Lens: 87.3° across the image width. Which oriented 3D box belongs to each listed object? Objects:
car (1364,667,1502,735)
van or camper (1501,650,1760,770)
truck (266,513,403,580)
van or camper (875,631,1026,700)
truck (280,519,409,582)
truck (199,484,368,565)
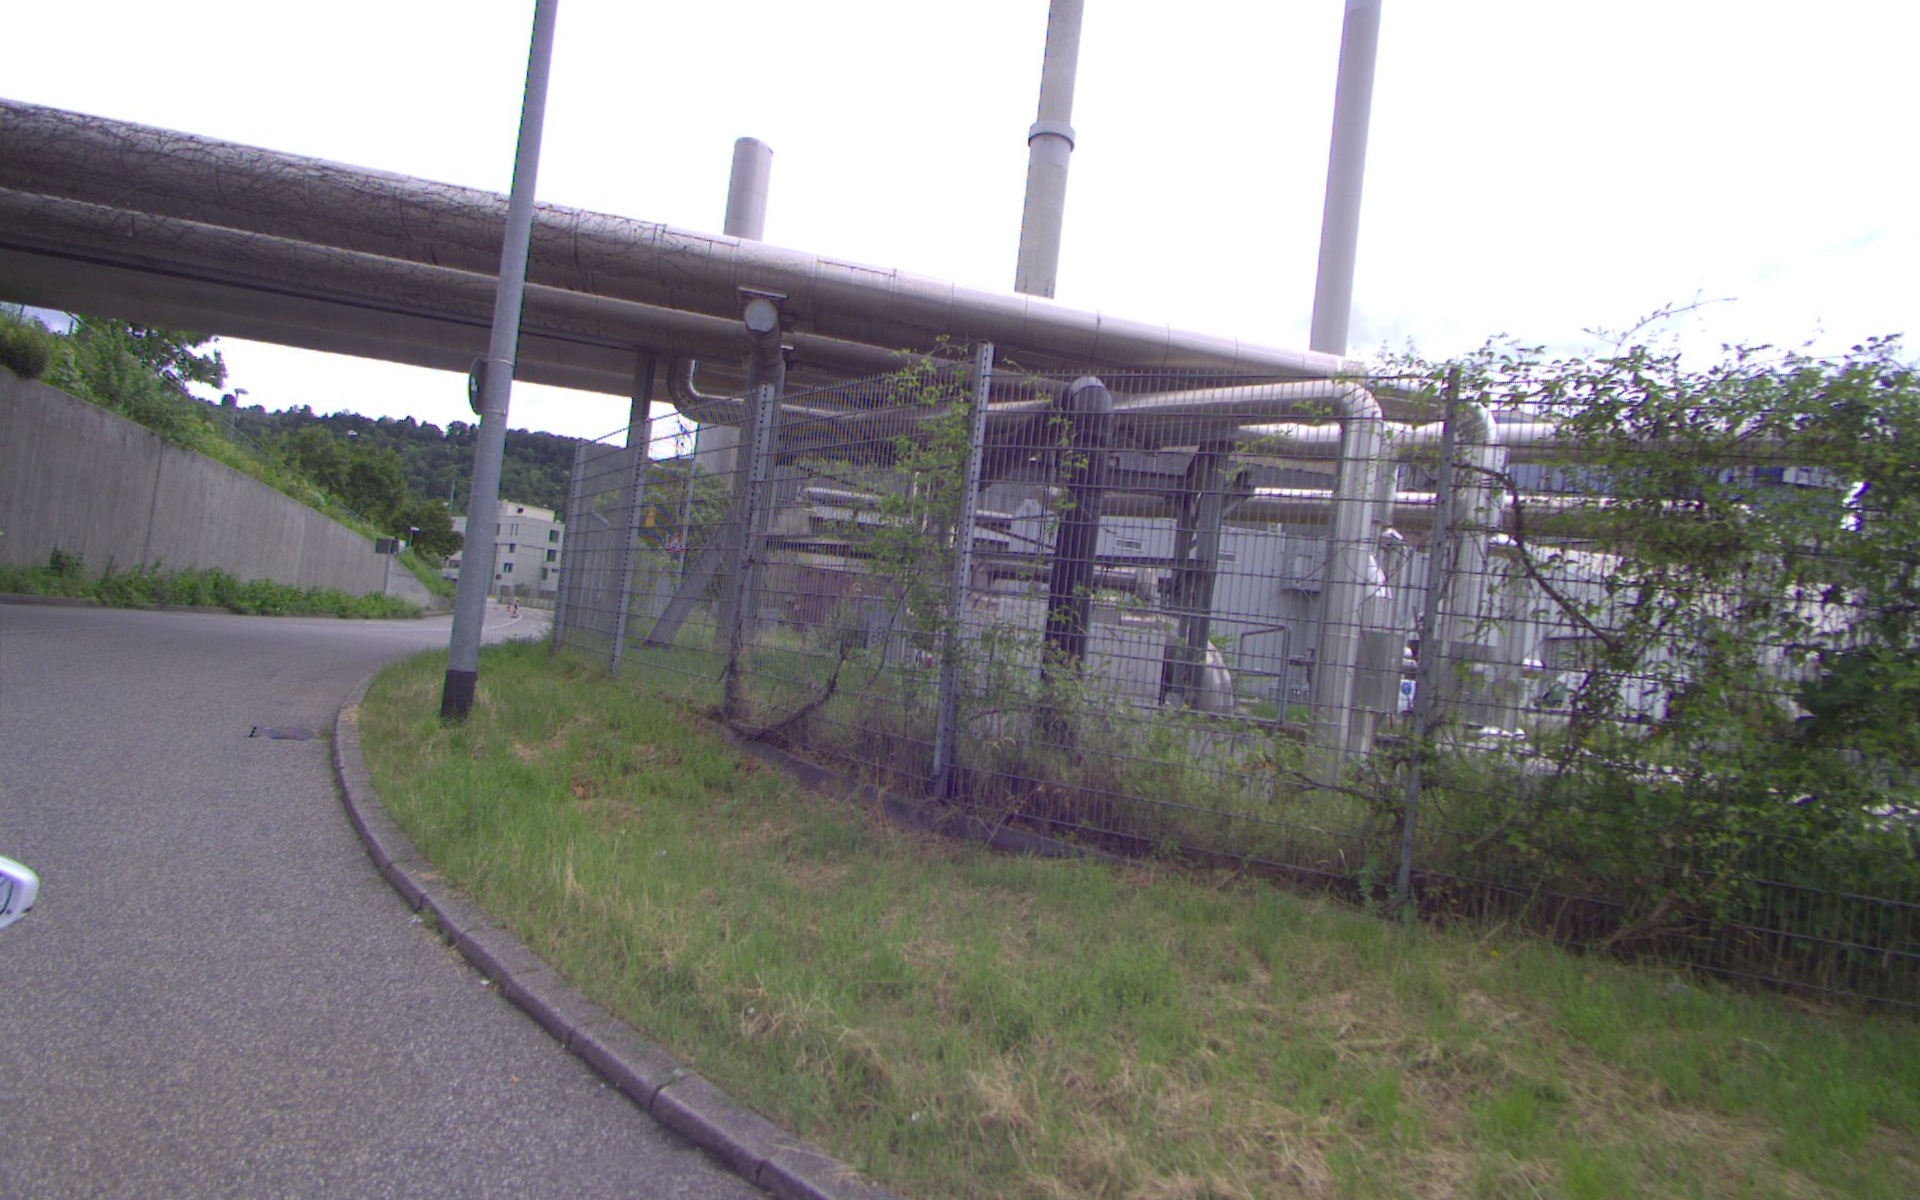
[{"bbox_3d":[18.041,3.839,38.495,4.266,2.036,1.999,7,-2,-9],"label":"car"},{"bbox_3d":[17.667,2.776,27.082,2.529,2.577,6.131,6,-3,-2],"label":"van or camper"},{"bbox_3d":[-46.343,-3.879,74.717,3.015,3.575,7.831,2,-6,44],"label":"truck"},{"bbox_3d":[-0.874,5.735,87.941,11.694,4.578,5.463,8,-4,-23],"label":"van or camper"},{"bbox_3d":[-48.128,-3.762,78.892,3.011,3.575,7.840,2,-6,41],"label":"truck"},{"bbox_3d":[-42.765,-4.633,63.898,3.010,3.575,8.132,2,-6,39],"label":"truck"}]
